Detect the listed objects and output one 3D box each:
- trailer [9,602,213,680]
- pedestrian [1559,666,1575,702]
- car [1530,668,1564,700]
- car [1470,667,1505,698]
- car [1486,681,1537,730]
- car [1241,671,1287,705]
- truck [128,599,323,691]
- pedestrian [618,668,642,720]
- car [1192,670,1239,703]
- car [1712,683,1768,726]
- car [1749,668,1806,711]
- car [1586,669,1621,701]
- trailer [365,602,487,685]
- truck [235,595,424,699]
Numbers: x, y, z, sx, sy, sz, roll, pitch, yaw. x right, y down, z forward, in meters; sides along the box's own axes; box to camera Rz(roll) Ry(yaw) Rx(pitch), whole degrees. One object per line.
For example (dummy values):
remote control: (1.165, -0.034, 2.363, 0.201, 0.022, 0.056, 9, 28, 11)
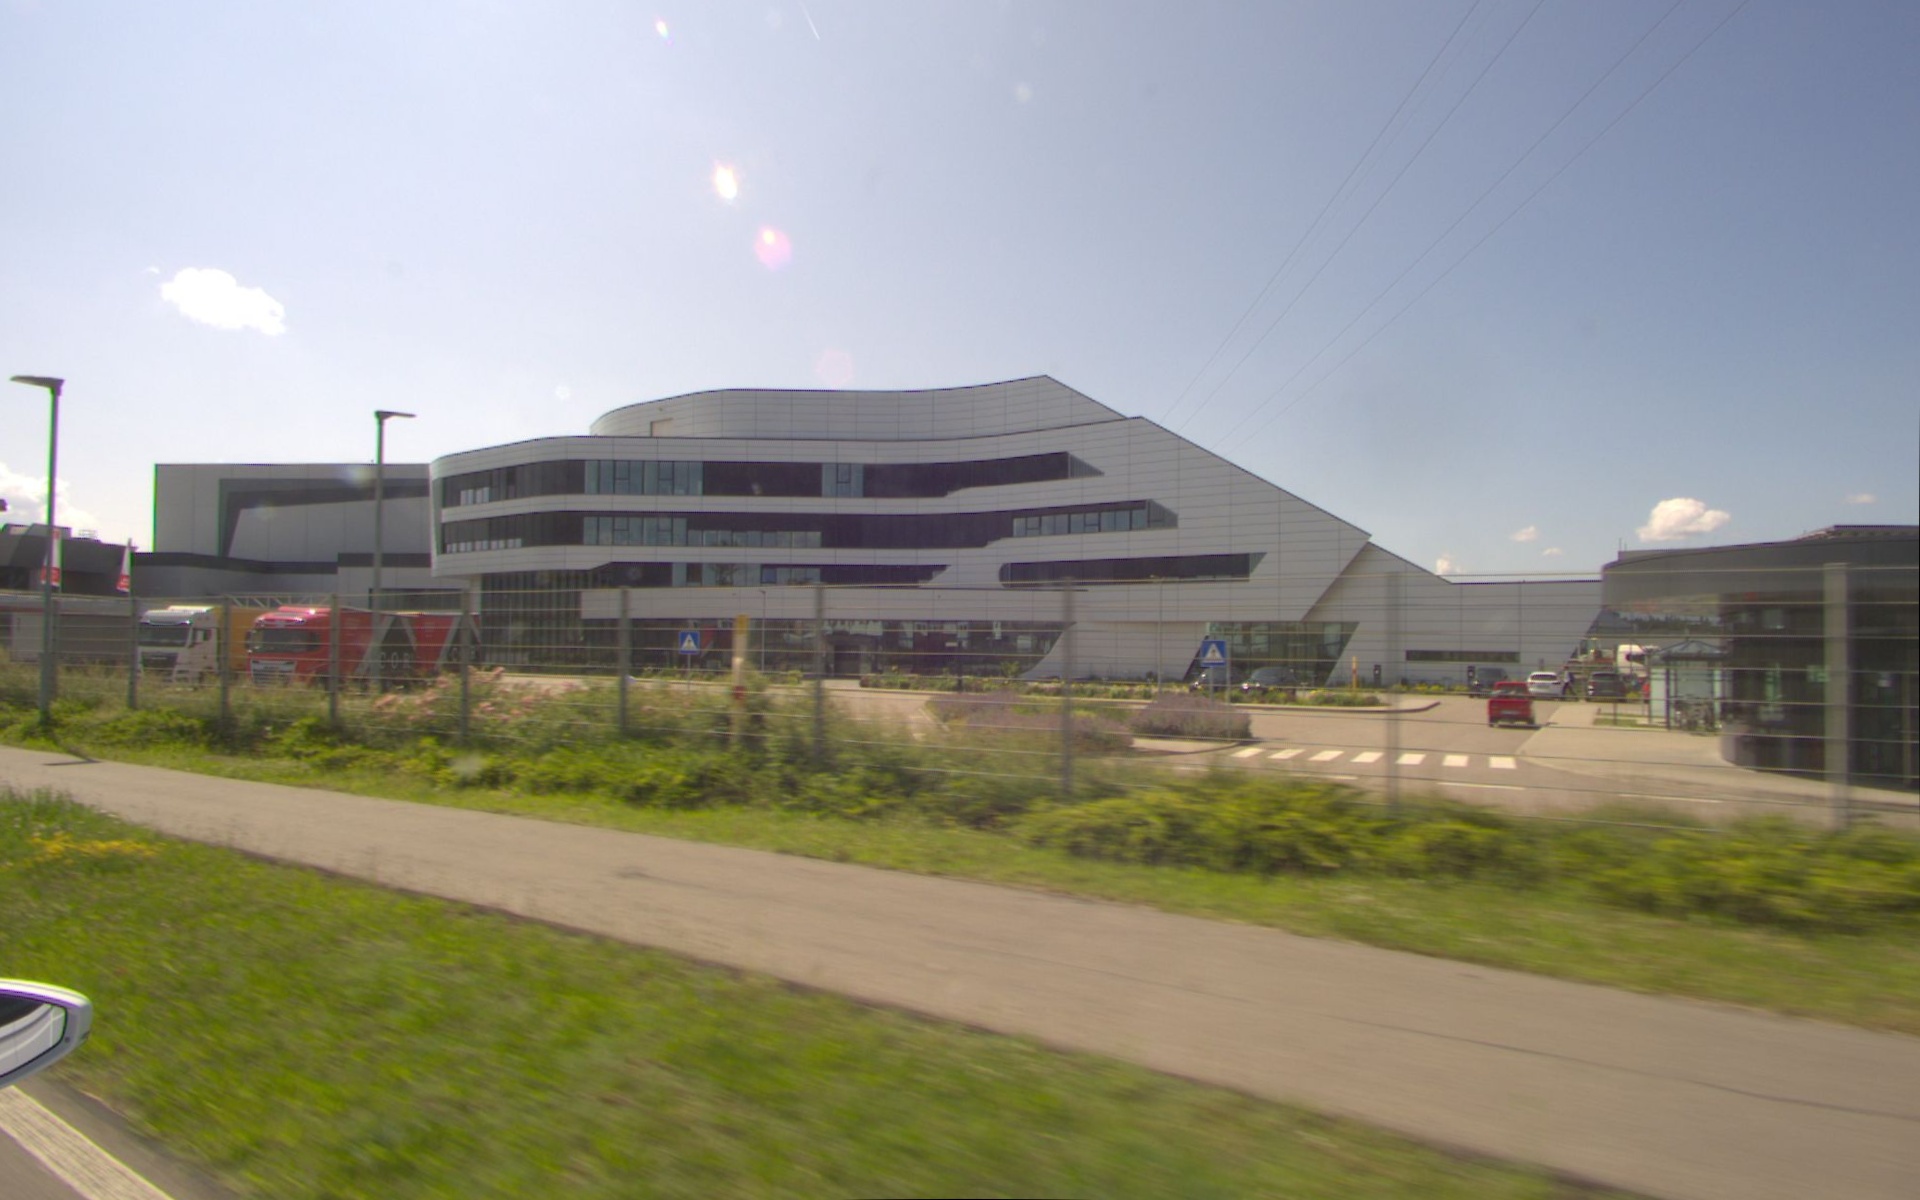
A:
trailer: (-54.673, 2.581, 65.335, 2.713, 4.494, 14.064, 0, -2, -6)
pedestrian: (30.294, 4.182, 49.956, 0.677, 1.768, 0.609, -1, -1, 32)
car: (30.657, 4.351, 52.246, 1.450, 1.553, 3.043, 0, -3, 32)
car: (28.520, 4.417, 54.146, 1.450, 1.553, 3.043, 0, -3, 32)
car: (19.389, 3.660, 35.157, 1.434, 1.553, 3.138, 0, -3, 32)
car: (15.145, 4.351, 49.793, 1.450, 1.553, 3.043, 0, -3, 32)
truck: (-37.161, 2.216, 51.409, 2.768, 4.226, 10.975, 0, -1, -5)
pedestrian: (-10.850, 3.072, 32.910, 0.566, 1.674, 0.482, 0, -2, 31)
car: (13.008, 4.396, 50.985, 1.450, 1.553, 3.043, 0, -3, 32)
car: (31.244, 4.145, 40.158, 1.450, 1.553, 3.043, 0, -3, 32)
car: (41.745, 4.534, 51.209, 1.974, 2.038, 4.726, 0, -4, 36)
car: (33.046, 4.334, 51.448, 1.450, 1.553, 3.043, 0, -3, 32)
trailer: (-30.124, 2.405, 56.970, 2.970, 4.351, 8.717, 0, -1, -5)
truck: (-29.186, 2.107, 47.206, 2.970, 4.311, 10.975, 0, -1, -6)
